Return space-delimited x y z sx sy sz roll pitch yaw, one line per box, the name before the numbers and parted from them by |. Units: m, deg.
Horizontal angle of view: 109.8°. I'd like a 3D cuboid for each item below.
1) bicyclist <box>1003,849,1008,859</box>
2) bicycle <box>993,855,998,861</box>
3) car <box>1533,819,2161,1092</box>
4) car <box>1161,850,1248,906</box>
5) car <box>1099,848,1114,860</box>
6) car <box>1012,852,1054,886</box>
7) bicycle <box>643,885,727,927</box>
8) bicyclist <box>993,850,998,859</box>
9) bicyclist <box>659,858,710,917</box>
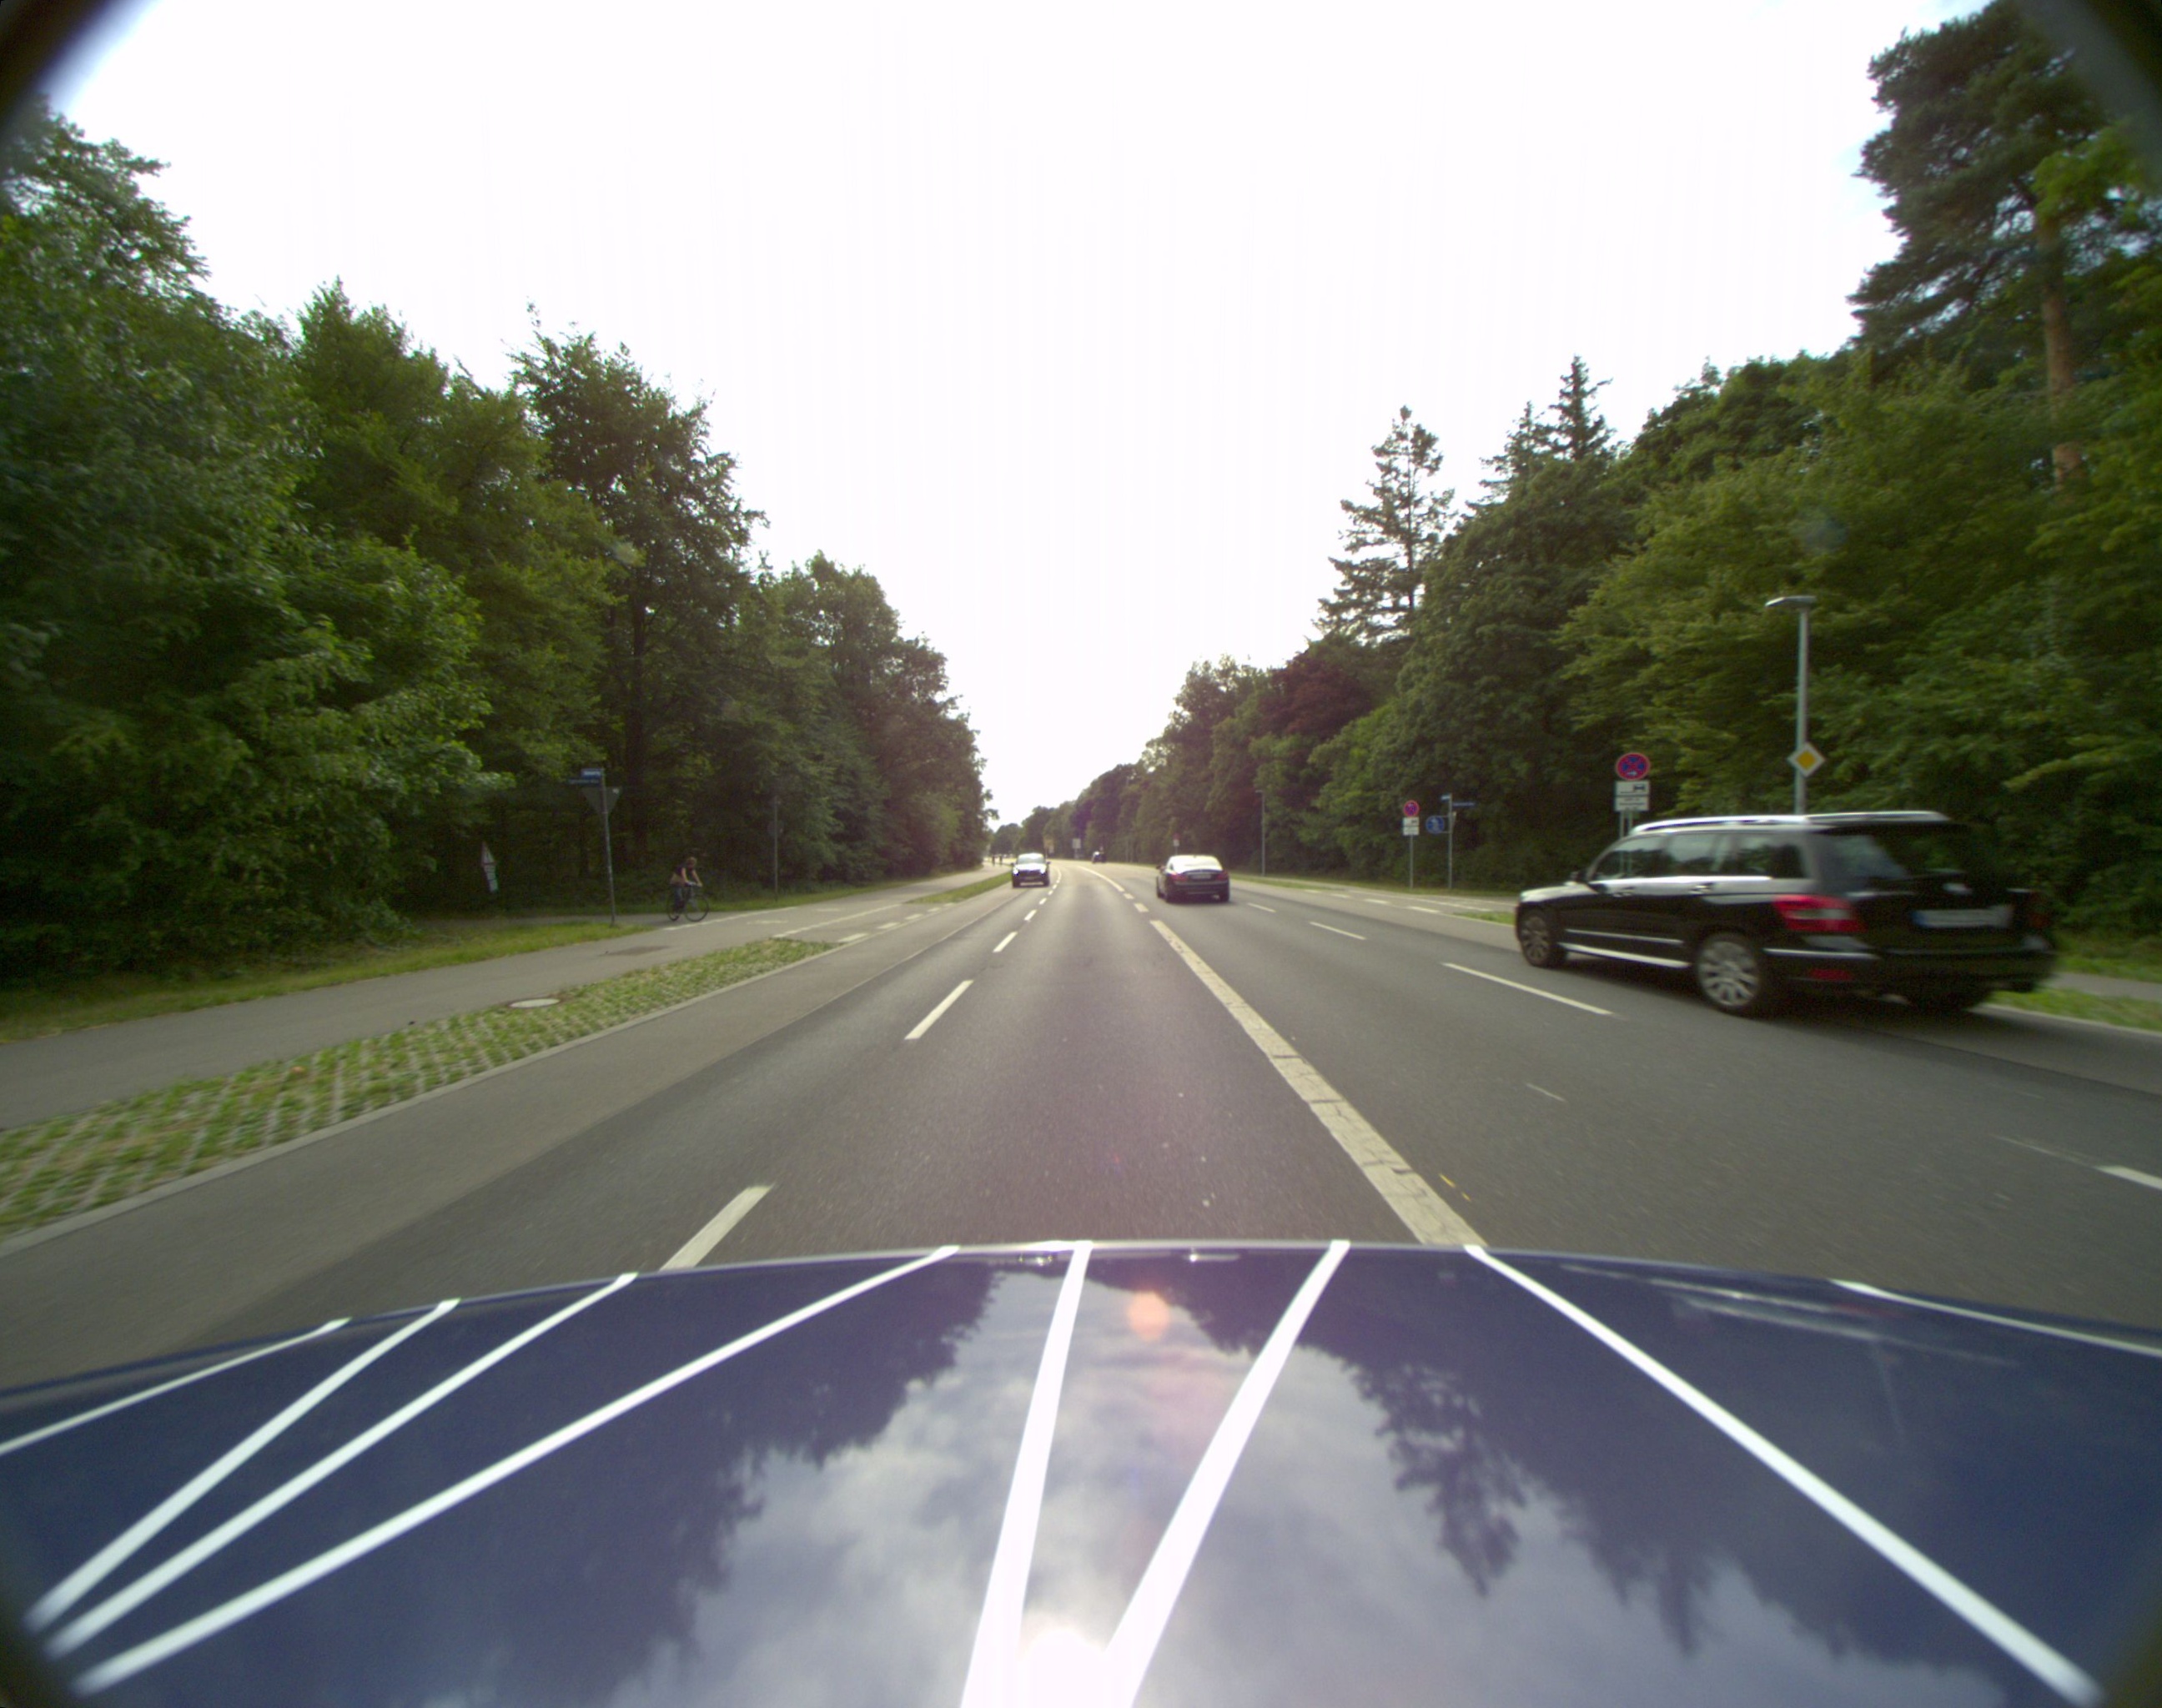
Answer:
bicyclist | -11.256 0.037 113.300 0.521 1.407 1.185 -1 1 -11
bicycle | -12.740 0.629 113.305 0.568 0.906 1.885 2 -1 -11
car | 6.363 0.640 6.894 1.928 1.645 4.470 -2 -1 2
car | 3.702 0.674 23.602 1.998 1.427 4.720 -2 1 2
car | 3.930 -0.029 117.173 1.999 1.781 4.746 -3 1 -2
car | -2.477 0.743 39.867 1.999 1.565 3.998 -3 1 -2
bicycle | -10.145 1.308 19.438 2.176 0.988 0.712 -1 1 25
bicyclist | -12.760 0.076 113.242 0.521 1.407 1.185 -3 1 -11
bicyclist | -10.146 0.848 19.440 0.899 1.462 0.712 -1 1 25
